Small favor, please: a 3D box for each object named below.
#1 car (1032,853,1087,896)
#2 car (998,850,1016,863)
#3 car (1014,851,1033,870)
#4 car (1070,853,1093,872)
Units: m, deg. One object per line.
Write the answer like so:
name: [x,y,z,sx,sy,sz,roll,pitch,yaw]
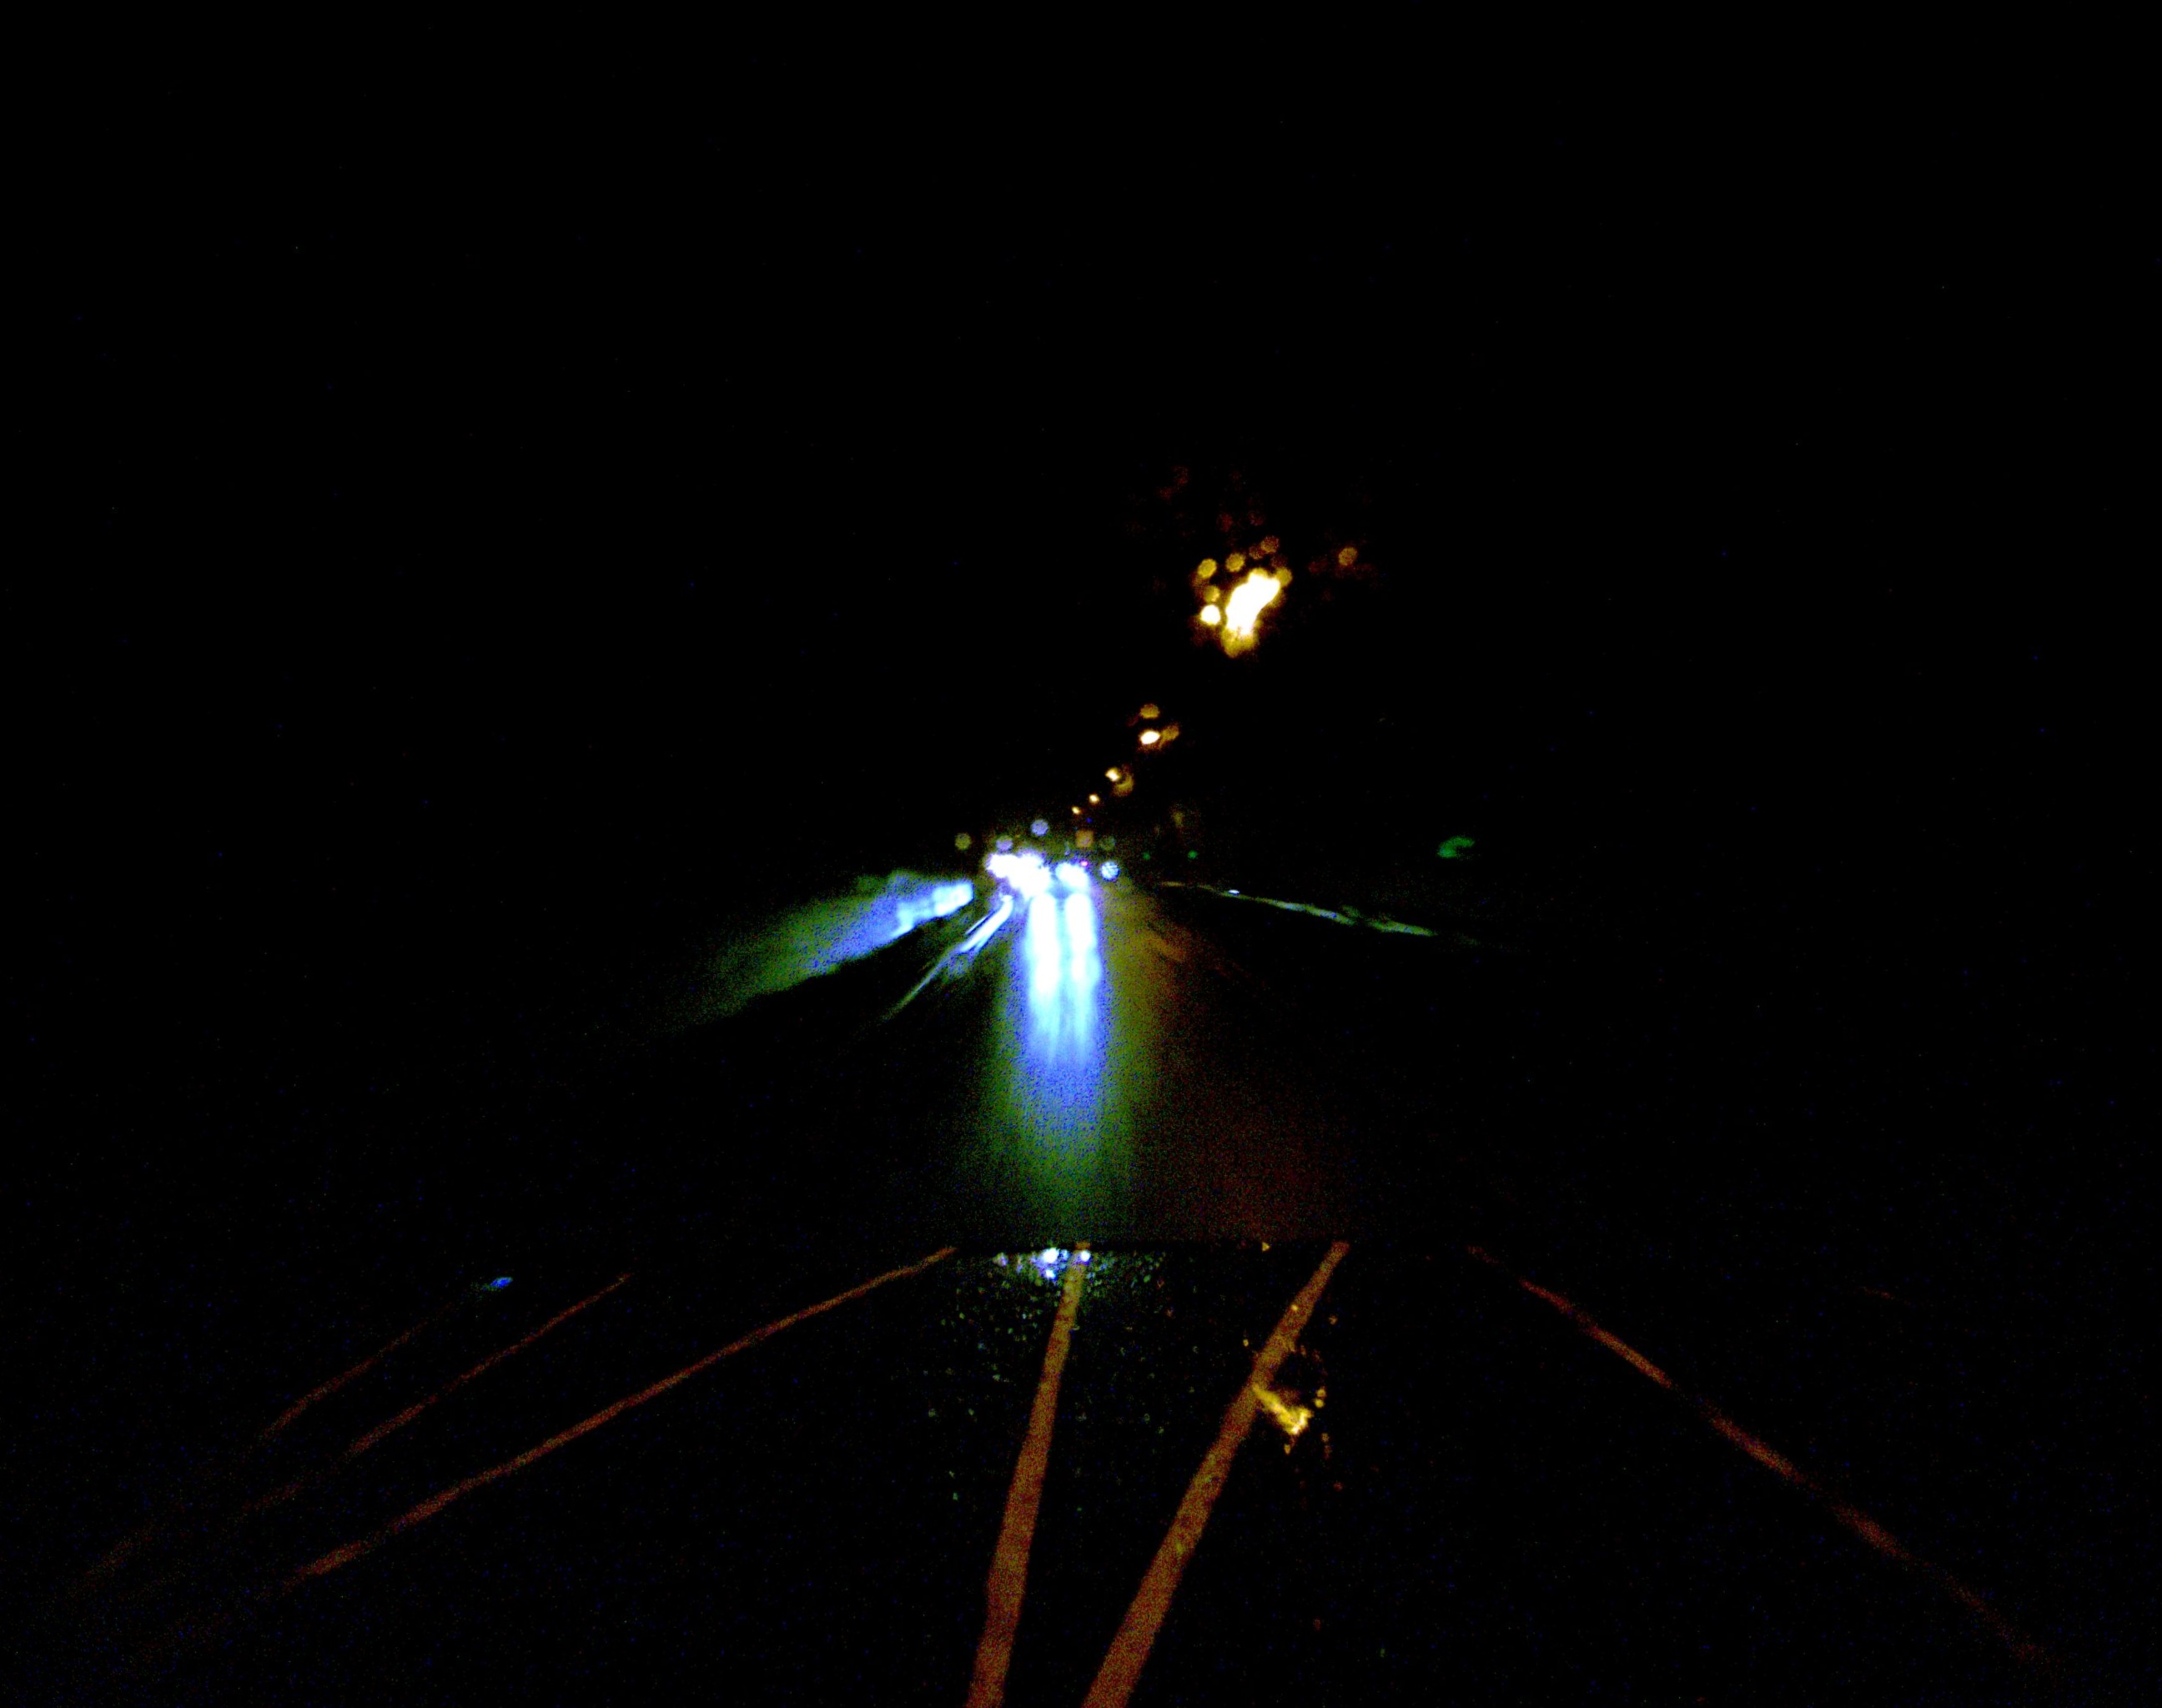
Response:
car: [-1.018,0.849,33.168,1.999,1.585,4.606,-3,1,-5]
car: [-10.486,0.279,107.957,1.711,1.762,3.994,-2,1,-17]
car: [-6.591,0.677,86.957,1.899,2.002,3.999,-2,1,-1]
car: [0.016,0.730,66.365,1.713,1.501,4.077,-3,0,-3]
